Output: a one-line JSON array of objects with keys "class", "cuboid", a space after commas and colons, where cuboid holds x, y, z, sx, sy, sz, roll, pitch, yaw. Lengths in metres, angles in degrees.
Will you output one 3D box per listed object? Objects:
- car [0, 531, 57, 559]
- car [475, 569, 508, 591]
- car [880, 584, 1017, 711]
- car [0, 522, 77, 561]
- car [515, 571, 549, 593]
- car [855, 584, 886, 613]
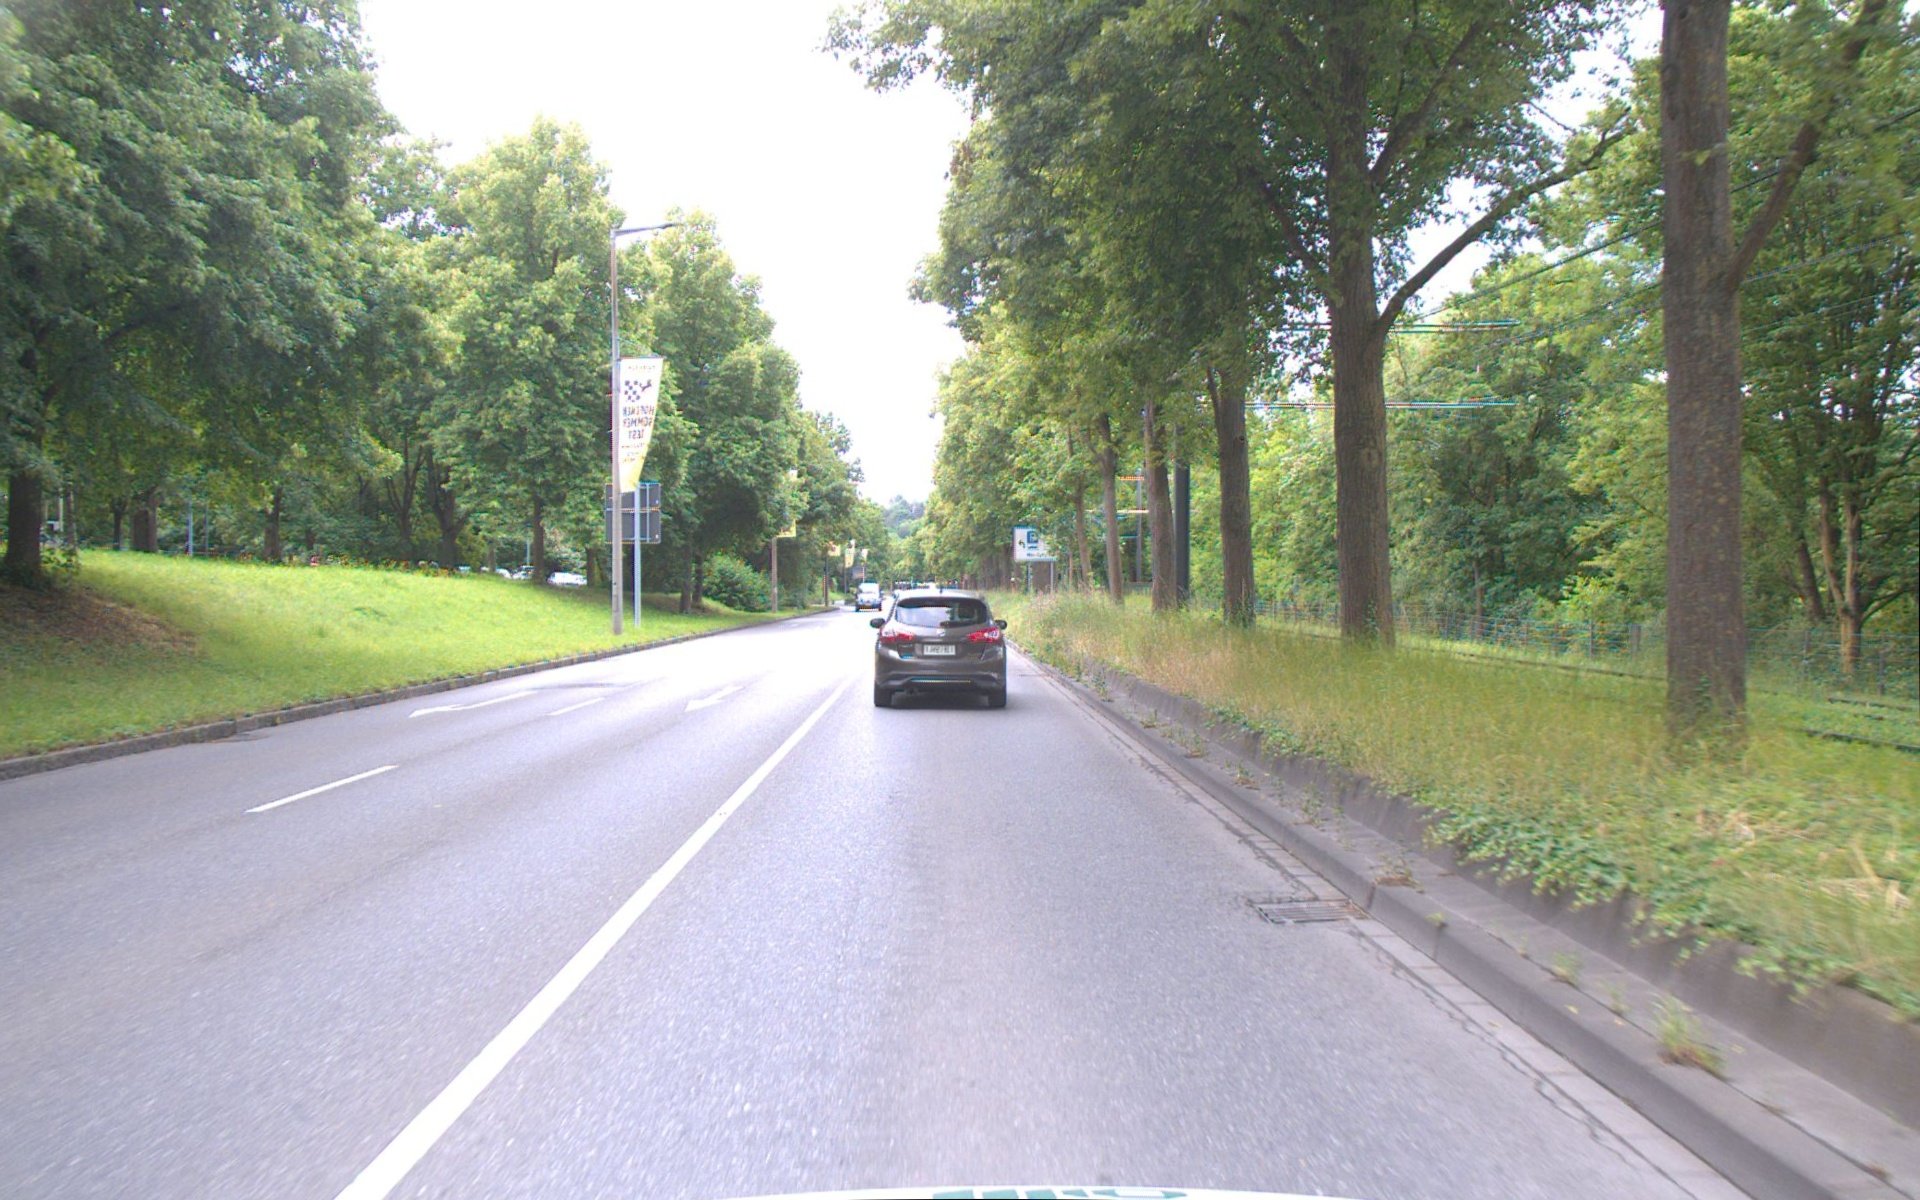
[{"class": "car", "cuboid": [-43.673, -2.553, 76.369, 3.459, 1.231, 1.386, 1, 0, -29]}, {"class": "car", "cuboid": [-32.517, -1.381, 114.690, 1.625, 1.512, 3.969, 1, 0, -24]}, {"class": "car", "cuboid": [-0.192, 0.597, 22.563, 1.695, 1.564, 3.550, 1, 0, -2]}, {"class": "car", "cuboid": [-44.661, -2.811, 79.199, 4.049, 1.713, 1.740, 1, 0, -25]}, {"class": "car", "cuboid": [-29.879, -1.240, 115.278, 1.625, 1.512, 3.969, 1, 0, -24]}, {"class": "car", "cuboid": [-6.377, -0.092, 117.962, 1.953, 1.990, 5.183, 0, 0, 0]}]
